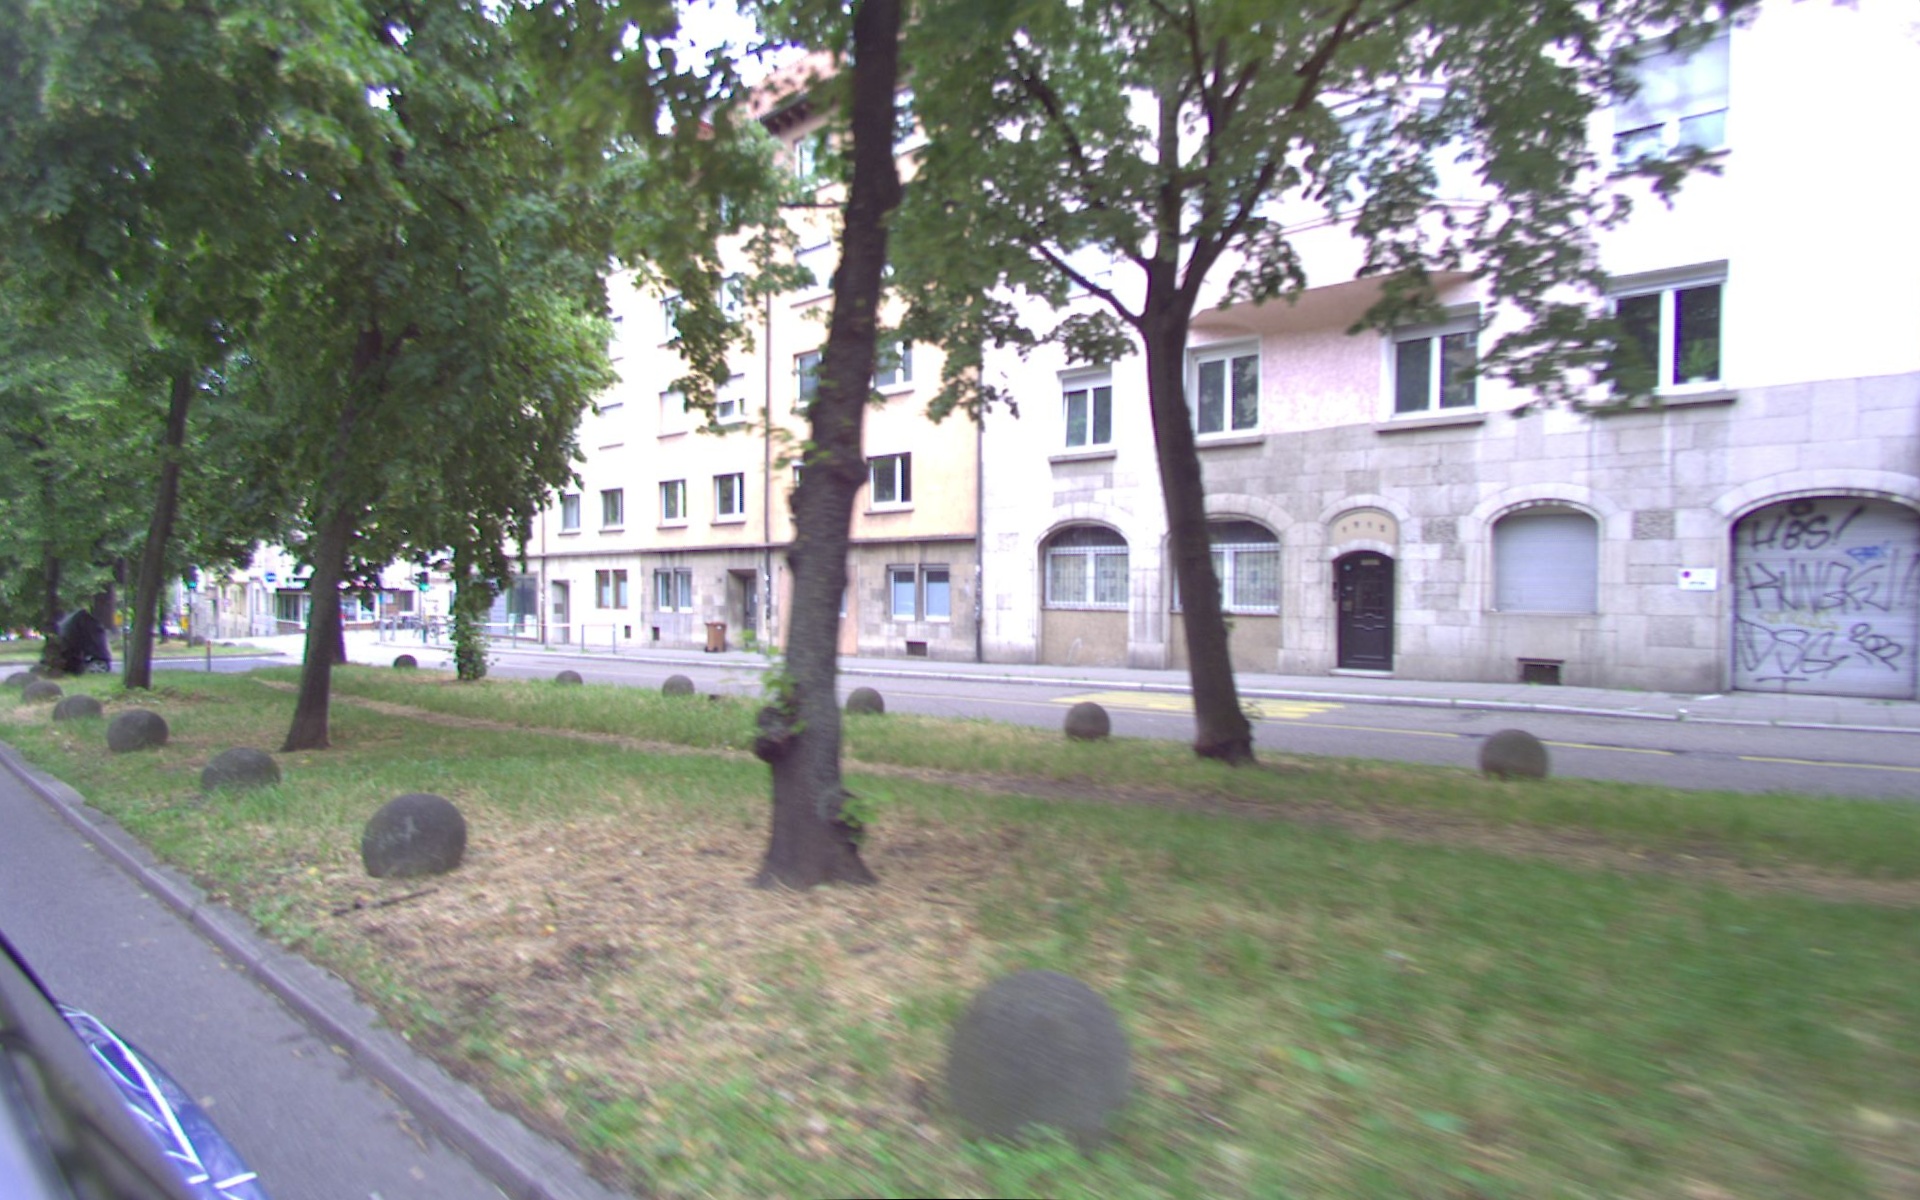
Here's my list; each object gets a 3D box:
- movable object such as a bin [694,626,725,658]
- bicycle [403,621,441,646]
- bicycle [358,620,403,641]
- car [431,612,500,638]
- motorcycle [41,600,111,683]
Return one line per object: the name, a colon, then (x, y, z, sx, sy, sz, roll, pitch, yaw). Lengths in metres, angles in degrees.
movable object such as a bin: (-7.440, 1.240, 30.052, 0.779, 0.934, 0.507, -2, 0, 43)
bicycle: (-26.955, 1.679, 50.712, 2.050, 1.158, 0.677, -3, 0, 31)
bicycle: (-34.470, 1.822, 60.236, 2.310, 1.108, 0.777, -2, 0, -29)
car: (-31.472, 1.552, 64.536, 1.965, 1.553, 3.790, -1, 0, 14)
motorcycle: (-18.079, 0.879, 20.676, 2.623, 1.542, 0.814, -6, -6, 43)
